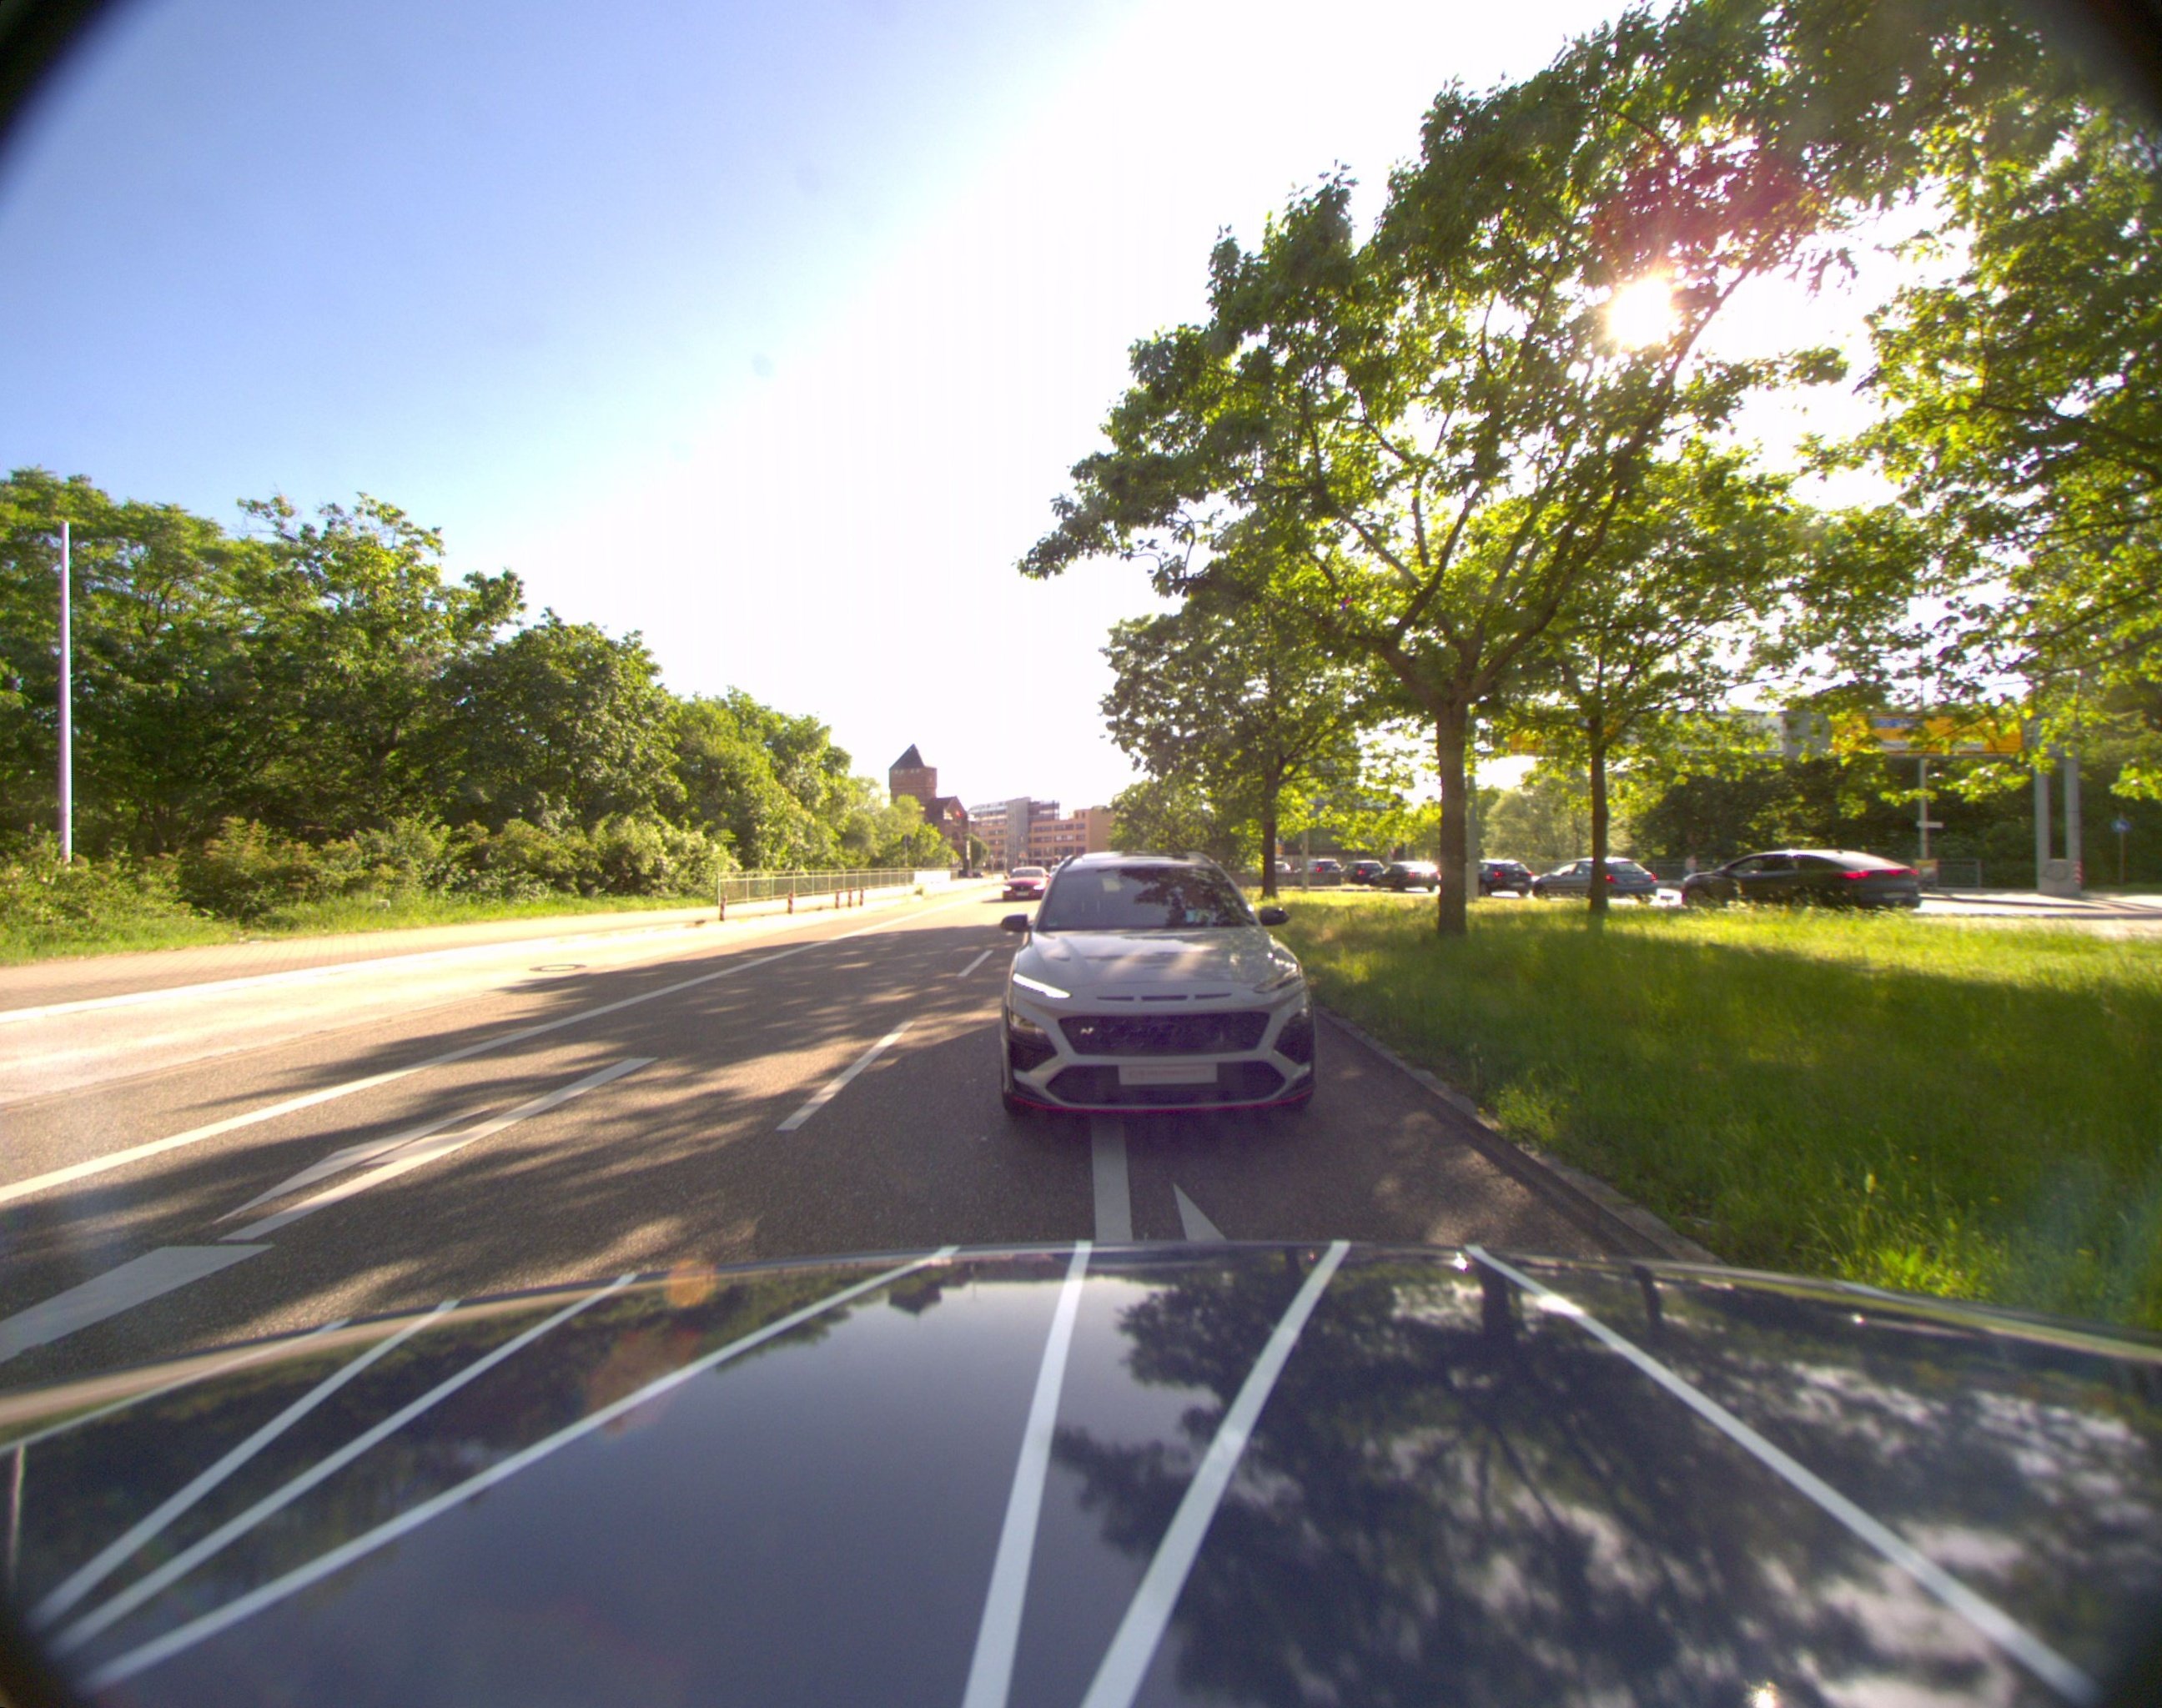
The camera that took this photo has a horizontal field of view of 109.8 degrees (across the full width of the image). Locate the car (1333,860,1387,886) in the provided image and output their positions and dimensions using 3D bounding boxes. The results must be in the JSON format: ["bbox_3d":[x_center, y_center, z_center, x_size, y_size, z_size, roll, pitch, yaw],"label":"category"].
[{"bbox_3d":[15.160,1.033,41.465,1.481,1.331,3.202,-1,-1,-6],"label":"car"}]

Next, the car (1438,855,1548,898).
[{"bbox_3d":[16.195,0.845,30.136,1.875,1.541,4.221,-1,0,-4],"label":"car"}]

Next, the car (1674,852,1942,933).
[{"bbox_3d":[16.806,0.808,17.957,1.832,1.638,4.458,-1,0,-5],"label":"car"}]

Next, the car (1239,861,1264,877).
[{"bbox_3d":[13.956,1.276,62.314,1.199,1.252,2.768,-1,-2,-6],"label":"car"}]

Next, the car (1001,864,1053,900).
[{"bbox_3d":[-2.291,1.192,33.507,1.892,1.420,4.387,-1,0,1],"label":"car"}]

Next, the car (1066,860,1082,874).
[{"bbox_3d":[-0.964,1.878,109.558,1.998,2.002,4.001,-1,0,2],"label":"car"}]

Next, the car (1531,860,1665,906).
[{"bbox_3d":[16.389,0.882,24.306,1.561,1.355,3.608,-1,-1,-6],"label":"car"}]

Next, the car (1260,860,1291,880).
[{"bbox_3d":[14.331,1.208,56.126,1.228,1.331,2.882,-1,-3,-6],"label":"car"}]

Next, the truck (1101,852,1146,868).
[{"bbox_3d":[8.868,1.305,159.692,9.138,3.231,3.536,-1,0,40],"label":"truck"}]

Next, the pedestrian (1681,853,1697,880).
[{"bbox_3d":[33.904,0.710,42.342,0.421,1.490,0.545,-1,0,-7],"label":"pedestrian"}]

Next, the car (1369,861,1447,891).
[{"bbox_3d":[15.483,0.997,36.209,1.623,1.305,4.066,-1,0,-6],"label":"car"}]

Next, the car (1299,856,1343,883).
[{"bbox_3d":[14.980,0.992,47.533,1.450,1.549,3.202,-1,-2,-6],"label":"car"}]

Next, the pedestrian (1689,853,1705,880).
[{"bbox_3d":[34.338,0.715,42.363,0.421,1.490,0.545,-1,0,-7],"label":"pedestrian"}]

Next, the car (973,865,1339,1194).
[{"bbox_3d":[0.392,0.883,5.676,1.752,1.523,3.988,-1,0,1],"label":"car"}]

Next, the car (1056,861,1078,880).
[{"bbox_3d":[-1.178,1.378,64.740,1.677,1.463,4.151,-1,0,1],"label":"car"}]
